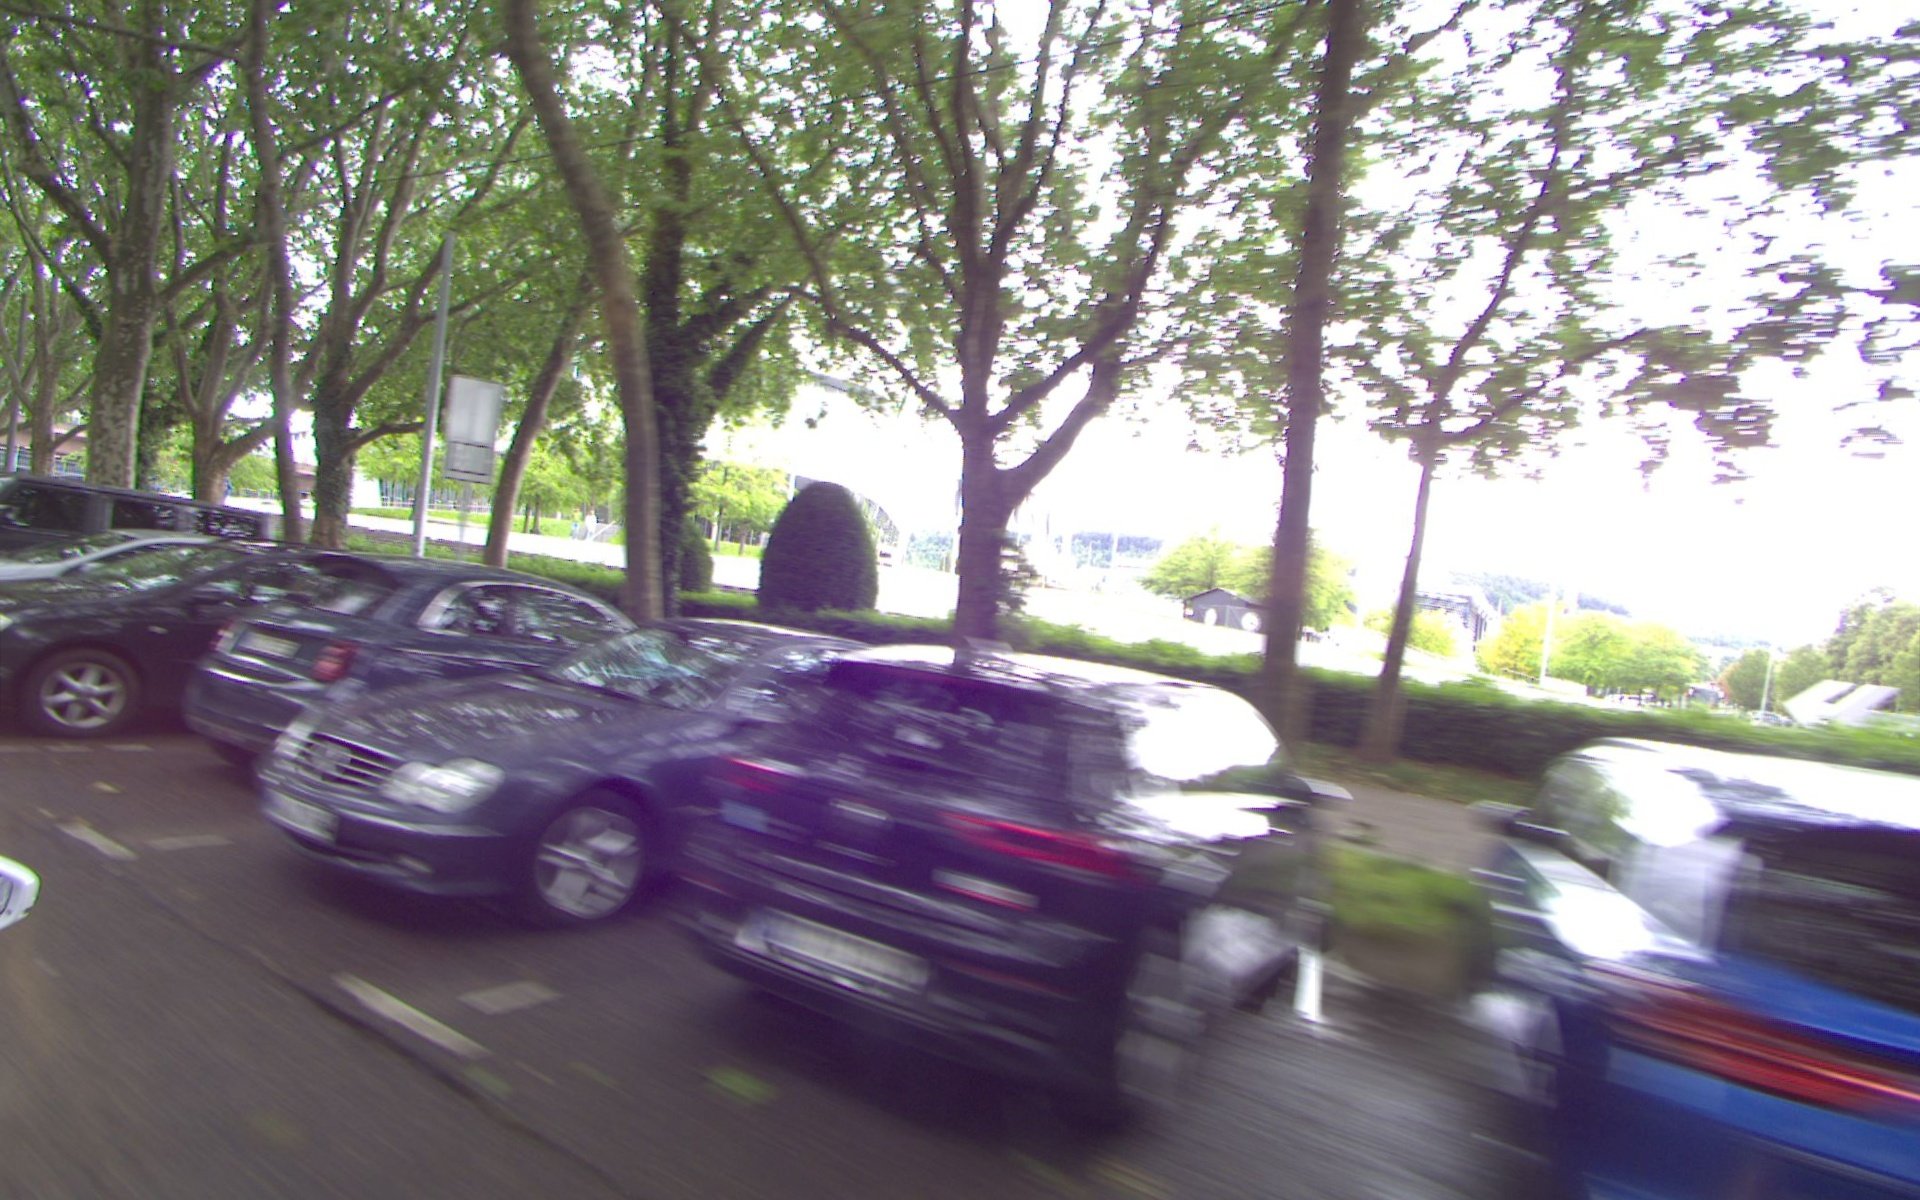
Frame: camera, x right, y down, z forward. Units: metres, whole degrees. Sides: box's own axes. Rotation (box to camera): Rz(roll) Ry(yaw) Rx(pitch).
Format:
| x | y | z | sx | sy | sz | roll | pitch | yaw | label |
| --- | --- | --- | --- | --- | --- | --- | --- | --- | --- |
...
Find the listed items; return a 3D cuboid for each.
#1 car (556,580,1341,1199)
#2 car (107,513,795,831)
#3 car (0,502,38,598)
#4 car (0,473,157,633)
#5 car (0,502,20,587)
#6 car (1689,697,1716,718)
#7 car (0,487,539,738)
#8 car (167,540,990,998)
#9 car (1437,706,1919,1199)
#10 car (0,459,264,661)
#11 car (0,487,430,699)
| x | y | z | sx | sy | sz | roll | pitch | yaw | label |
| --- | --- | --- | --- | --- | --- | --- | --- | --- | --- |
| 0.507 | 0.976 | 4.740 | 1.754 | 1.472 | 4.208 | 8 | -2 | 28 | car |
| -3.299 | 0.549 | 7.499 | 1.754 | 1.535 | 4.208 | 8 | -2 | 28 | car |
| -16.658 | -1.087 | 14.519 | 1.900 | 1.444 | 4.505 | 7 | -3 | 32 | car |
| -12.810 | -0.806 | 11.997 | 2.013 | 1.817 | 4.506 | 7 | -2 | 31 | car |
| -18.404 | -1.270 | 16.110 | 1.799 | 1.435 | 4.504 | 7 | -3 | 33 | car |
| 81.891 | 11.899 | 110.924 | 1.968 | 2.037 | 3.992 | 6 | -2 | 33 | car |
| -5.834 | 0.192 | 8.048 | 1.755 | 1.535 | 4.207 | 6 | -3 | 31 | car |
| -1.615 | 0.779 | 5.816 | 1.754 | 1.472 | 4.208 | 8 | -2 | 28 | car |
| 2.713 | 1.227 | 3.246 | 1.880 | 1.463 | 4.030 | 8 | -2 | 25 | car |
| -10.349 | -0.544 | 10.497 | 2.012 | 1.887 | 4.509 | 8 | -2 | 28 | car |
| -7.880 | -0.078 | 9.547 | 2.015 | 1.590 | 4.502 | 7 | -2 | 34 | car |
